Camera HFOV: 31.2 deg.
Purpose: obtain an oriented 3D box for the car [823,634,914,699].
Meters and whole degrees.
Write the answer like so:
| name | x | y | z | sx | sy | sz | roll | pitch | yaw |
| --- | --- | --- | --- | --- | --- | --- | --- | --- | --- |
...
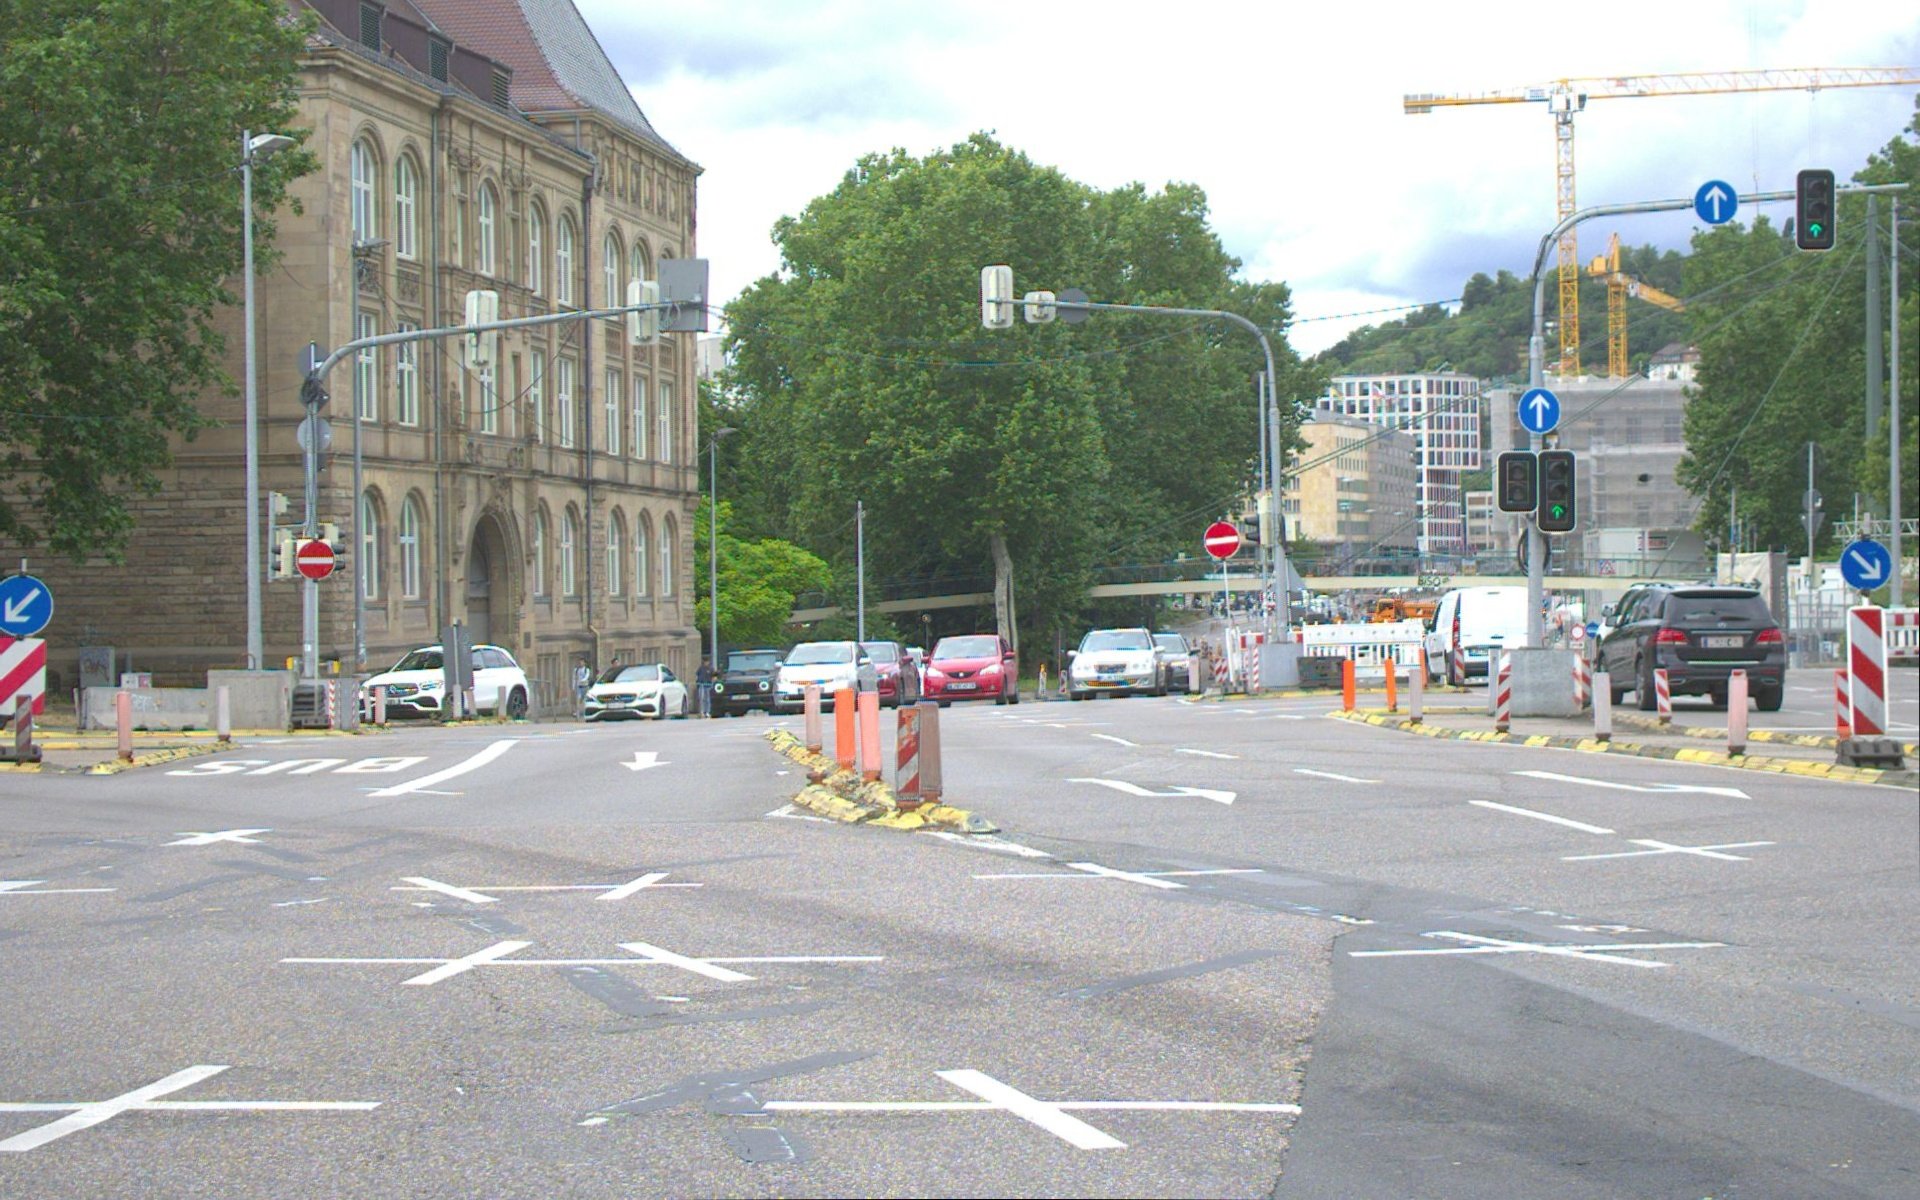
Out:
| name | x | y | z | sx | sy | sz | roll | pitch | yaw |
| --- | --- | --- | --- | --- | --- | --- | --- | --- | --- |
| car | -2.046 | 1.484 | 77.538 | 1.660 | 1.430 | 3.446 | 0 | -1 | 5 |

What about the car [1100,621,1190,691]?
| name | x | y | z | sx | sy | sz | roll | pitch | yaw |
| --- | --- | --- | --- | --- | --- | --- | --- | --- | --- |
| car | 4.078 | 1.240 | 75.409 | 1.689 | 1.430 | 3.446 | -3 | -1 | 7 |

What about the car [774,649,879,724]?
| name | x | y | z | sx | sy | sz | roll | pitch | yaw |
| --- | --- | --- | --- | --- | --- | --- | --- | --- | --- |
| car | -2.714 | 1.794 | 70.415 | 1.660 | 1.431 | 3.446 | -3 | -2 | 5 |

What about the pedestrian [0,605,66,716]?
| name | x | y | z | sx | sy | sz | roll | pitch | yaw |
| --- | --- | --- | --- | --- | --- | --- | --- | --- | --- |
| pedestrian | -17.077 | 1.097 | 62.660 | 1.190 | 2.007 | 1.204 | 0 | -1 | -33 |

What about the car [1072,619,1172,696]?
| name | x | y | z | sx | sy | sz | roll | pitch | yaw |
| --- | --- | --- | --- | --- | --- | --- | --- | --- | --- |
| car | 3.259 | 1.152 | 68.655 | 1.689 | 1.430 | 3.446 | -3 | -1 | 7 |

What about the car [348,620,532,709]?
| name | x | y | z | sx | sy | sz | roll | pitch | yaw |
| --- | --- | --- | --- | --- | --- | --- | --- | --- | --- |
| car | -10.152 | 1.236 | 67.464 | 1.813 | 1.637 | 4.548 | 0 | 0 | 16 |

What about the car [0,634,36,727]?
| name | x | y | z | sx | sy | sz | roll | pitch | yaw |
| --- | --- | --- | --- | --- | --- | --- | --- | --- | --- |
| car | -17.900 | 1.348 | 57.662 | 1.755 | 1.562 | 4.320 | 0 | 0 | 45 |

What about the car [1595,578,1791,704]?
| name | x | y | z | sx | sy | sz | roll | pitch | yaw |
| --- | --- | --- | --- | --- | --- | --- | --- | --- | --- |
| car | 10.209 | 0.588 | 48.136 | 1.938 | 1.661 | 3.642 | -1 | -1 | 0 |

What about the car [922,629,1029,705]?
| name | x | y | z | sx | sy | sz | roll | pitch | yaw |
| --- | --- | --- | --- | --- | --- | --- | --- | --- | --- |
| car | 0.332 | 1.324 | 68.834 | 1.686 | 1.430 | 3.446 | -2 | -1 | 7 |

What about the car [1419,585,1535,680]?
| name | x | y | z | sx | sy | sz | roll | pitch | yaw |
| --- | --- | --- | --- | --- | --- | --- | --- | --- | --- |
| car | 9.461 | 0.615 | 63.120 | 1.758 | 1.682 | 3.642 | -1 | -1 | 3 |

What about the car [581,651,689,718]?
| name | x | y | z | sx | sy | sz | roll | pitch | yaw |
| --- | --- | --- | --- | --- | --- | --- | --- | --- | --- |
| car | -7.527 | 1.938 | 79.968 | 1.735 | 1.430 | 4.380 | 0 | 0 | 5 |

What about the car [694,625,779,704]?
| name | x | y | z | sx | sy | sz | roll | pitch | yaw |
| --- | --- | --- | --- | --- | --- | --- | --- | --- | --- |
| car | -6.207 | 1.808 | 95.729 | 1.932 | 1.932 | 3.672 | -3 | -4 | 2 |
